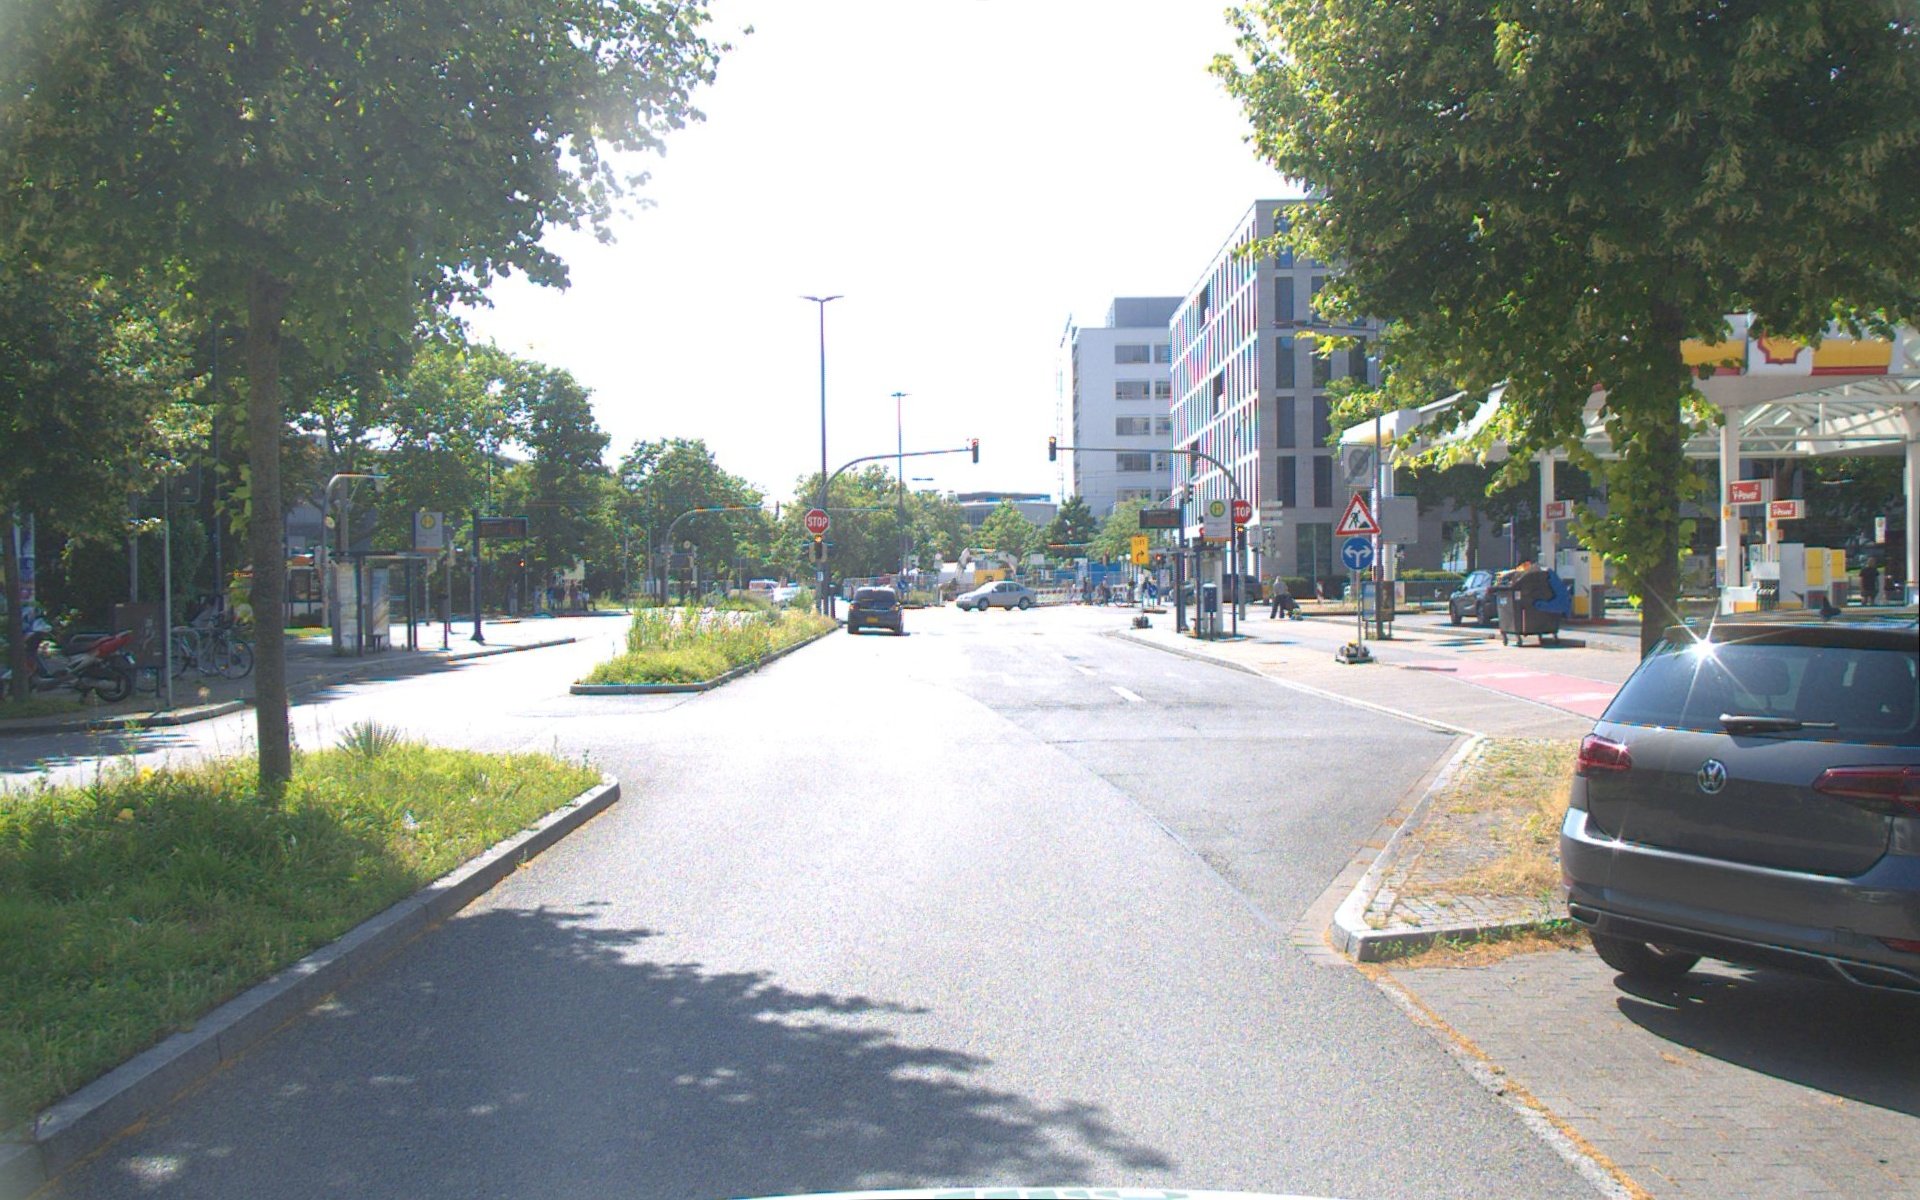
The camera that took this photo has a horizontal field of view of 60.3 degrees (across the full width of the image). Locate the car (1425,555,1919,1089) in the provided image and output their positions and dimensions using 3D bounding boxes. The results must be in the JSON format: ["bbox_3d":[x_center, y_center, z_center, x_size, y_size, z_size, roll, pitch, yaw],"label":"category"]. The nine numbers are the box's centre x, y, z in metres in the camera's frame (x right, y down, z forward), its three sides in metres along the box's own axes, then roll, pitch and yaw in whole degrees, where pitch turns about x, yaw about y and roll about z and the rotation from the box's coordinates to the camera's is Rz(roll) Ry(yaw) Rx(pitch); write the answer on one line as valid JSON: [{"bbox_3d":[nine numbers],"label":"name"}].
[{"bbox_3d":[3.925,0.617,6.677,4.076,1.556,1.972,-1,1,-39],"label":"car"}]

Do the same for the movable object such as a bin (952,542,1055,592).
[{"bbox_3d":[4.078,-3.076,155.478,9.476,4.629,3.164,0,1,1],"label":"movable object such as a bin"}]

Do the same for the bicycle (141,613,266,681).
[{"bbox_3d":[-12.980,0.800,28.407,1.807,1.125,0.693,-1,0,0],"label":"bicycle"}]

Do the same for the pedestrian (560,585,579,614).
[{"bbox_3d":[-22.598,-0.044,95.705,0.652,1.639,0.942,0,0,22],"label":"pedestrian"}]

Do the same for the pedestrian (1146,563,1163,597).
[{"bbox_3d":[11.608,-1.206,98.822,0.763,2.049,0.776,0,1,28],"label":"pedestrian"}]

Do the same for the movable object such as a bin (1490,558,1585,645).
[{"bbox_3d":[11.401,0.020,32.703,1.282,1.619,1.395,-3,0,-3],"label":"movable object such as a bin"}]

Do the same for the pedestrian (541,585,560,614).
[{"bbox_3d":[-23.523,-0.027,95.024,0.641,1.639,0.942,0,0,22],"label":"pedestrian"}]

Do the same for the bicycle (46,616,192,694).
[{"bbox_3d":[-12.589,0.815,24.793,1.807,1.111,0.693,-1,0,0],"label":"bicycle"}]

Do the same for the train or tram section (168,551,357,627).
[{"bbox_3d":[-32.480,-0.511,77.259,7.404,3.390,3.118,-1,0,-3],"label":"train or tram section"}]

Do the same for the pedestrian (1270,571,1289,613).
[{"bbox_3d":[12.030,-0.295,62.265,0.606,1.570,0.461,0,0,-2],"label":"pedestrian"}]

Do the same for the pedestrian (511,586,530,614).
[{"bbox_3d":[-25.146,-0.001,94.607,0.641,1.639,0.942,0,0,22],"label":"pedestrian"}]

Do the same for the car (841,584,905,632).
[{"bbox_3d":[-2.796,0.224,52.666,1.954,1.422,3.997,-1,1,-4],"label":"car"}]

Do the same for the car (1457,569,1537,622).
[{"bbox_3d":[15.170,-0.123,46.869,1.615,1.422,3.645,-1,0,10],"label":"car"}]

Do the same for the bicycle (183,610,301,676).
[{"bbox_3d":[-12.895,0.760,29.721,1.807,1.142,0.693,-1,0,0],"label":"bicycle"}]

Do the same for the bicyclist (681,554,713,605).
[{"bbox_3d":[-15.839,-1.227,99.716,1.567,2.982,2.353,-1,0,-1],"label":"bicyclist"}]

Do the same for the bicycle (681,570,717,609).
[{"bbox_3d":[-15.848,-0.633,100.530,1.567,2.308,3.999,-1,0,-1],"label":"bicycle"}]

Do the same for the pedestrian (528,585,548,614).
[{"bbox_3d":[-24.253,-0.018,95.024,0.641,1.639,0.942,0,0,22],"label":"pedestrian"}]

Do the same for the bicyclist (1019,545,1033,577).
[{"bbox_3d":[5.368,-3.160,134.497,1.047,2.619,0.828,0,0,5],"label":"bicyclist"}]

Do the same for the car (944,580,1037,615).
[{"bbox_3d":[1.562,-0.134,84.188,4.338,1.667,1.979,-1,0,-32],"label":"car"}]

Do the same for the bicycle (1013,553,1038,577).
[{"bbox_3d":[5.326,-2.838,134.508,2.044,1.996,0.828,0,0,5],"label":"bicycle"}]

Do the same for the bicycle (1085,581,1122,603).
[{"bbox_3d":[8.681,-0.462,100.048,2.181,1.307,0.525,0,0,7],"label":"bicycle"}]

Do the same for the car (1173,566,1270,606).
[{"bbox_3d":[13.863,-0.720,87.921,4.757,2.049,1.999,-1,0,-3],"label":"car"}]

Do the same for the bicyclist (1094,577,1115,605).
[{"bbox_3d":[8.733,-0.565,100.053,1.213,1.702,0.525,0,0,7],"label":"bicyclist"}]

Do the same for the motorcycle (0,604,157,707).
[{"bbox_3d":[-11.767,0.725,21.983,1.810,1.307,0.692,-1,0,-8],"label":"motorcycle"}]

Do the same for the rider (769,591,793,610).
[{"bbox_3d":[-11.608,0.042,107.422,1.364,1.216,2.696,-1,0,-3],"label":"rider"}]

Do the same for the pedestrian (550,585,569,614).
[{"bbox_3d":[-22.825,-0.032,94.236,0.641,1.639,0.942,0,0,22],"label":"pedestrian"}]

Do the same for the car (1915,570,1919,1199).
[{"bbox_3d":[4.184,0.660,4.141,3.958,1.499,1.746,-1,1,-38],"label":"car"}]

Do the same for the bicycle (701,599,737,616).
[{"bbox_3d":[-13.726,0.427,94.201,1.964,0.899,0.525,-1,0,-12],"label":"bicycle"}]

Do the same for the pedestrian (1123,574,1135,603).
[{"bbox_3d":[10.266,-0.697,100.663,0.519,1.802,0.717,0,0,-14],"label":"pedestrian"}]

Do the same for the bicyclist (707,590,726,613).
[{"bbox_3d":[-13.854,0.091,94.183,1.033,1.297,0.491,-1,0,-12],"label":"bicyclist"}]
